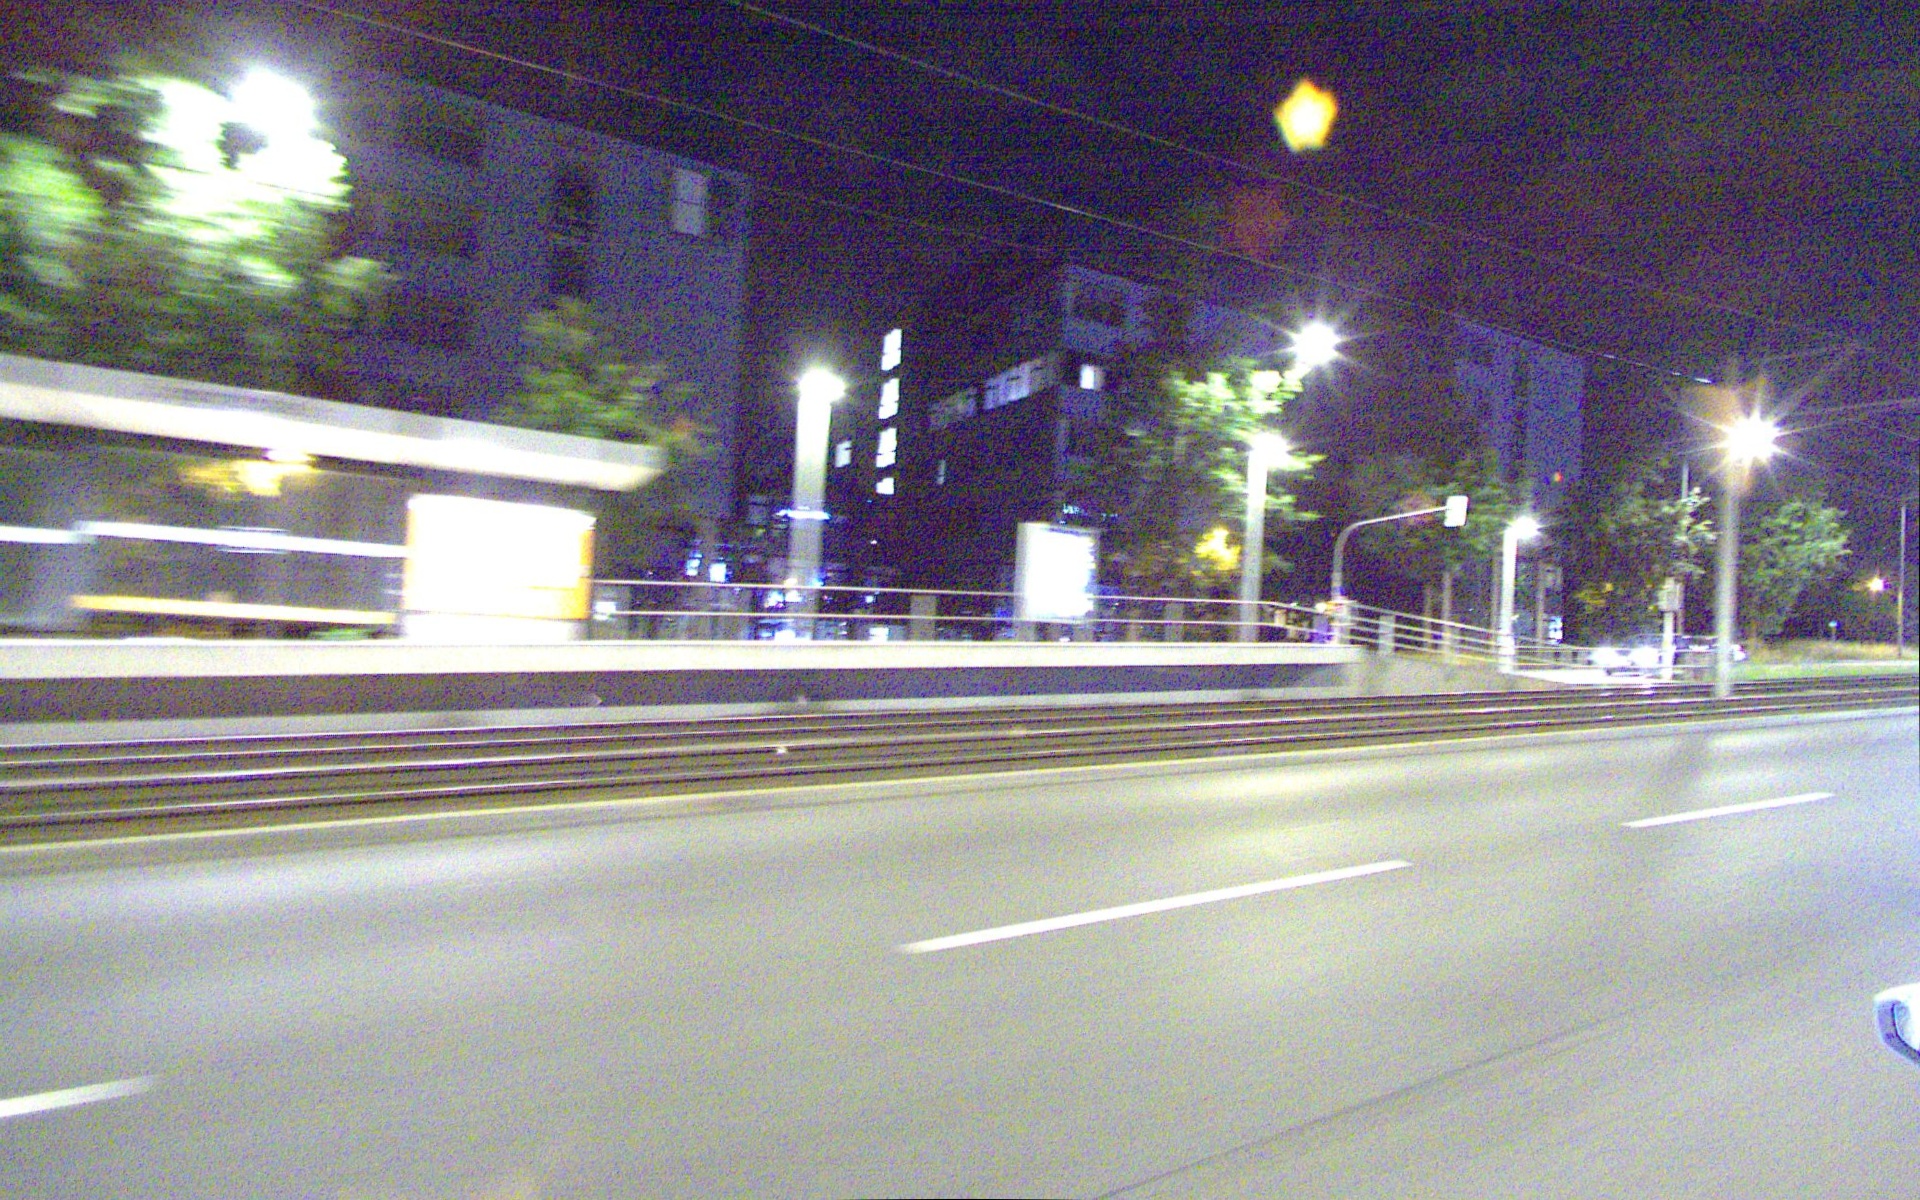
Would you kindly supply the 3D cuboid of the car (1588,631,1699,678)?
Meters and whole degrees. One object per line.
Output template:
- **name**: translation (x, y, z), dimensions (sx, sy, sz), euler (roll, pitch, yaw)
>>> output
- **car**: translation (24.457, 1.951, 35.896), dimensions (4.129, 1.516, 1.775), euler (3, -2, -32)

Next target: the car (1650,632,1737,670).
- **car**: translation (31.782, 2.235, 43.510), dimensions (3.865, 1.536, 1.652), euler (2, -1, -30)
